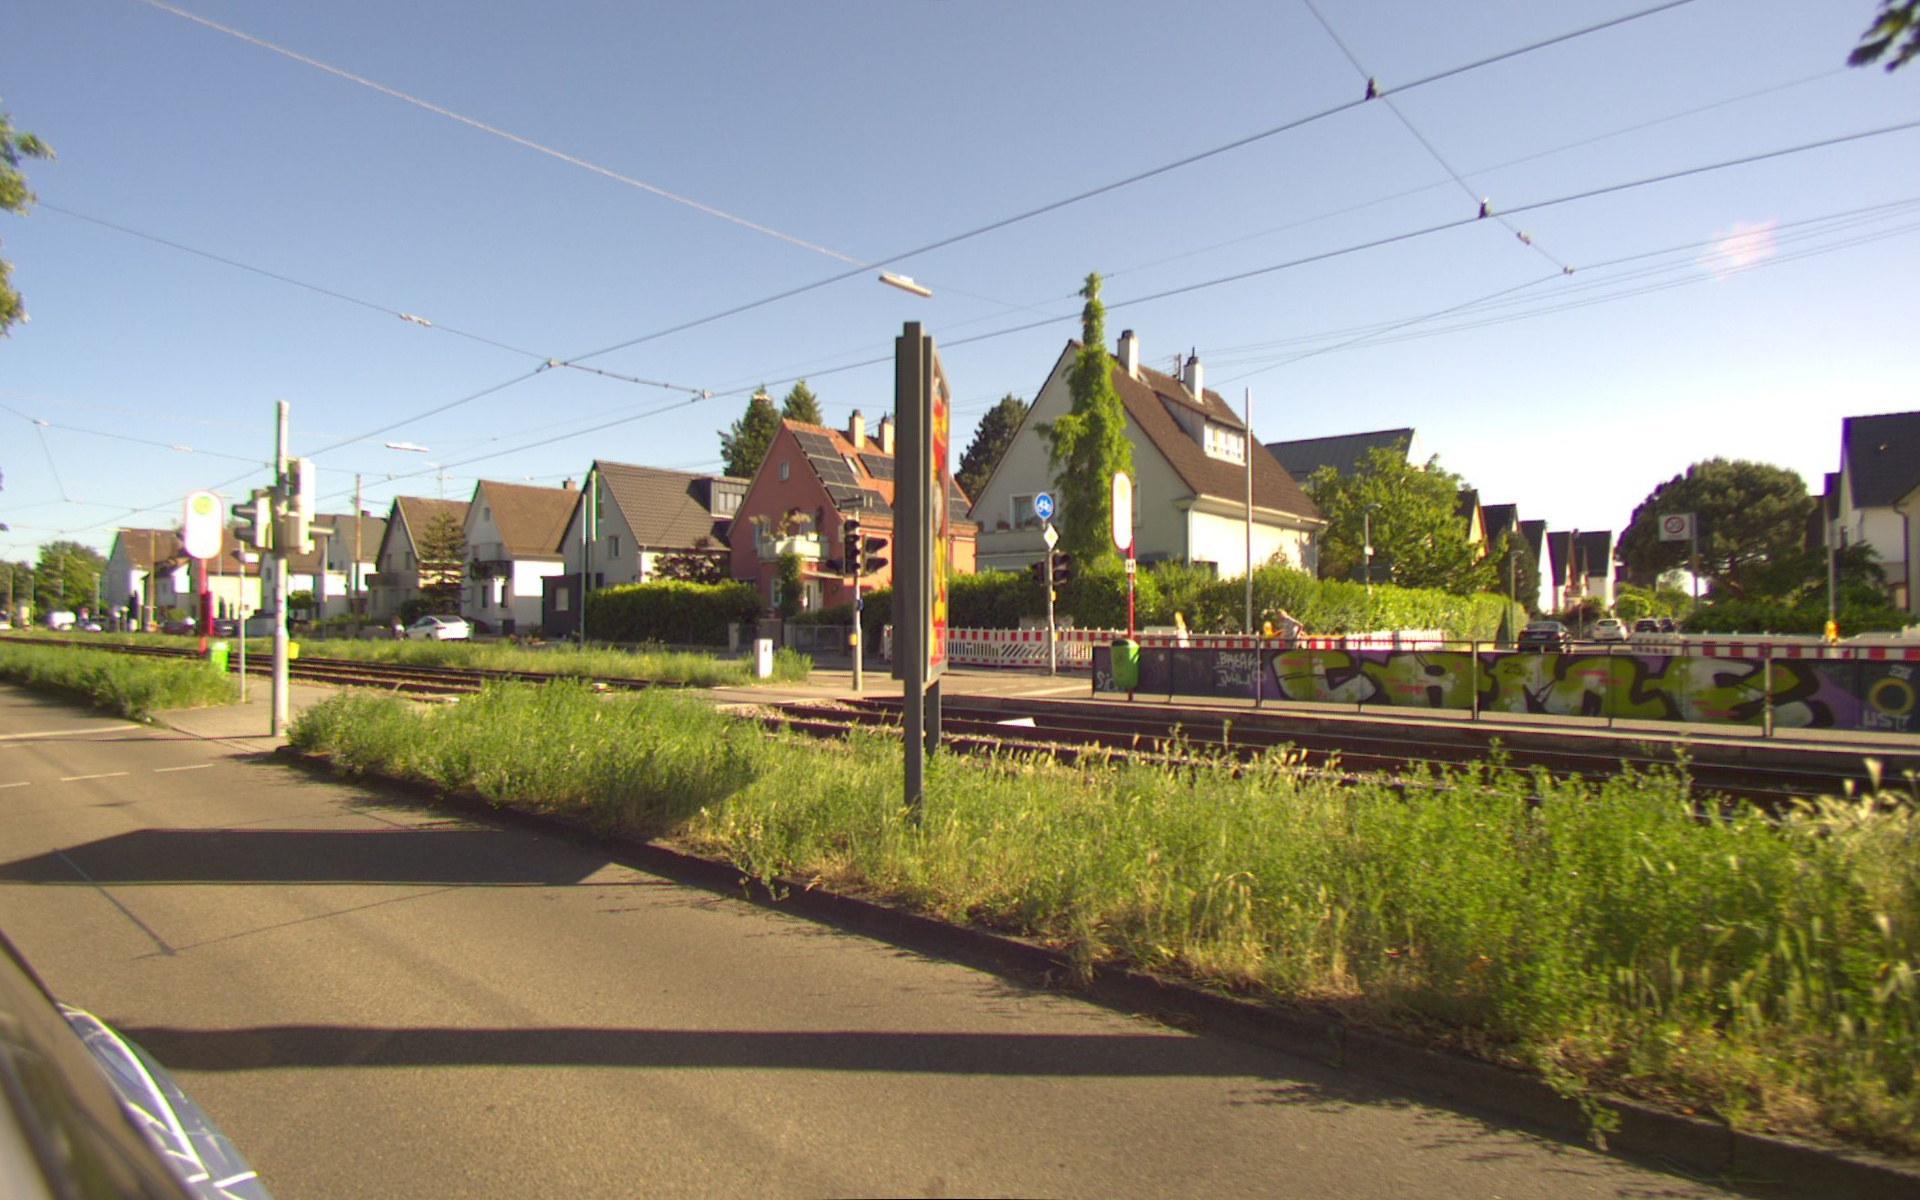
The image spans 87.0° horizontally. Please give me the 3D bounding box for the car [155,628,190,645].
[{"bbox_3d":[-68.059,3.153,87.472,3.822,1.392,1.733,-1,0,41],"label":"car"}]

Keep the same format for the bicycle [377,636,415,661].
[{"bbox_3d":[-27.108,2.322,48.612,2.308,1.143,0.843,-1,0,41],"label":"bicycle"}]

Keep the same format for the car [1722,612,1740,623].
[{"bbox_3d":[112.601,2.548,147.884,1.996,1.597,3.951,-1,0,36],"label":"car"}]

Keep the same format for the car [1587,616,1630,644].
[{"bbox_3d":[40.529,1.856,63.176,1.996,1.597,3.951,-1,0,36],"label":"car"}]

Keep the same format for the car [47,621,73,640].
[{"bbox_3d":[-110.736,3.764,124.514,4.001,2.239,2.104,-1,0,44],"label":"car"}]

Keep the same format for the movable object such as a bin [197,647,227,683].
[{"bbox_3d":[-13.004,1.123,17.592,0.381,0.587,0.380,-1,0,-40],"label":"movable object such as a bin"}]

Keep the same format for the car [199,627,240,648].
[{"bbox_3d":[-55.858,2.819,76.317,3.754,1.501,1.716,-1,0,41],"label":"car"}]

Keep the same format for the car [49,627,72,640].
[{"bbox_3d":[-107.466,4.002,120.836,4.001,1.517,1.767,-1,0,44],"label":"car"}]

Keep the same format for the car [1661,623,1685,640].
[{"bbox_3d":[74.082,3.287,105.133,1.996,1.597,3.951,-1,0,36],"label":"car"}]

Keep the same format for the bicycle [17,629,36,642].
[{"bbox_3d":[-118.288,4.508,128.258,3.998,1.506,1.336,-1,0,41],"label":"bicycle"}]

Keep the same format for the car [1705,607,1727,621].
[{"bbox_3d":[87.668,1.611,117.437,1.996,1.597,3.951,-1,0,36],"label":"car"}]

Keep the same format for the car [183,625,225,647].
[{"bbox_3d":[-59.103,2.771,79.096,4.010,1.609,1.779,-1,0,41],"label":"car"}]

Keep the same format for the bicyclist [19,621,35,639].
[{"bbox_3d":[-118.134,3.765,128.125,1.622,2.250,1.293,-1,0,41],"label":"bicyclist"}]

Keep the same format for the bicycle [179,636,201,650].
[{"bbox_3d":[-55.844,3.125,73.363,2.308,0.958,0.843,-1,0,41],"label":"bicycle"}]

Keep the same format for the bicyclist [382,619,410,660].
[{"bbox_3d":[-27.070,1.871,48.576,1.071,1.901,0.843,-1,0,41],"label":"bicyclist"}]

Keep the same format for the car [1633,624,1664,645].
[{"bbox_3d":[57.442,2.831,84.412,1.996,1.597,3.951,-1,0,36],"label":"car"}]

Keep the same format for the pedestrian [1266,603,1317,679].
[{"bbox_3d":[6.941,0.867,21.199,0.791,1.546,0.805,-3,-3,32],"label":"pedestrian"}]

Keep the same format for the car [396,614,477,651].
[{"bbox_3d":[-26.220,1.591,50.632,4.837,1.691,1.973,-1,0,41],"label":"car"}]

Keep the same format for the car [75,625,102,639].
[{"bbox_3d":[-96.670,3.511,112.257,3.998,1.517,1.768,-1,0,41],"label":"car"}]

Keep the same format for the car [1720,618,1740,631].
[{"bbox_3d":[102.321,3.268,134.528,1.996,1.597,3.951,-1,0,36],"label":"car"}]

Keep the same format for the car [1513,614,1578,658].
[{"bbox_3d":[23.806,1.431,41.083,1.846,1.597,3.951,-1,0,36],"label":"car"}]

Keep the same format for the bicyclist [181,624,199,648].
[{"bbox_3d":[-55.801,2.626,73.348,0.836,1.687,0.843,-1,0,41],"label":"bicyclist"}]
